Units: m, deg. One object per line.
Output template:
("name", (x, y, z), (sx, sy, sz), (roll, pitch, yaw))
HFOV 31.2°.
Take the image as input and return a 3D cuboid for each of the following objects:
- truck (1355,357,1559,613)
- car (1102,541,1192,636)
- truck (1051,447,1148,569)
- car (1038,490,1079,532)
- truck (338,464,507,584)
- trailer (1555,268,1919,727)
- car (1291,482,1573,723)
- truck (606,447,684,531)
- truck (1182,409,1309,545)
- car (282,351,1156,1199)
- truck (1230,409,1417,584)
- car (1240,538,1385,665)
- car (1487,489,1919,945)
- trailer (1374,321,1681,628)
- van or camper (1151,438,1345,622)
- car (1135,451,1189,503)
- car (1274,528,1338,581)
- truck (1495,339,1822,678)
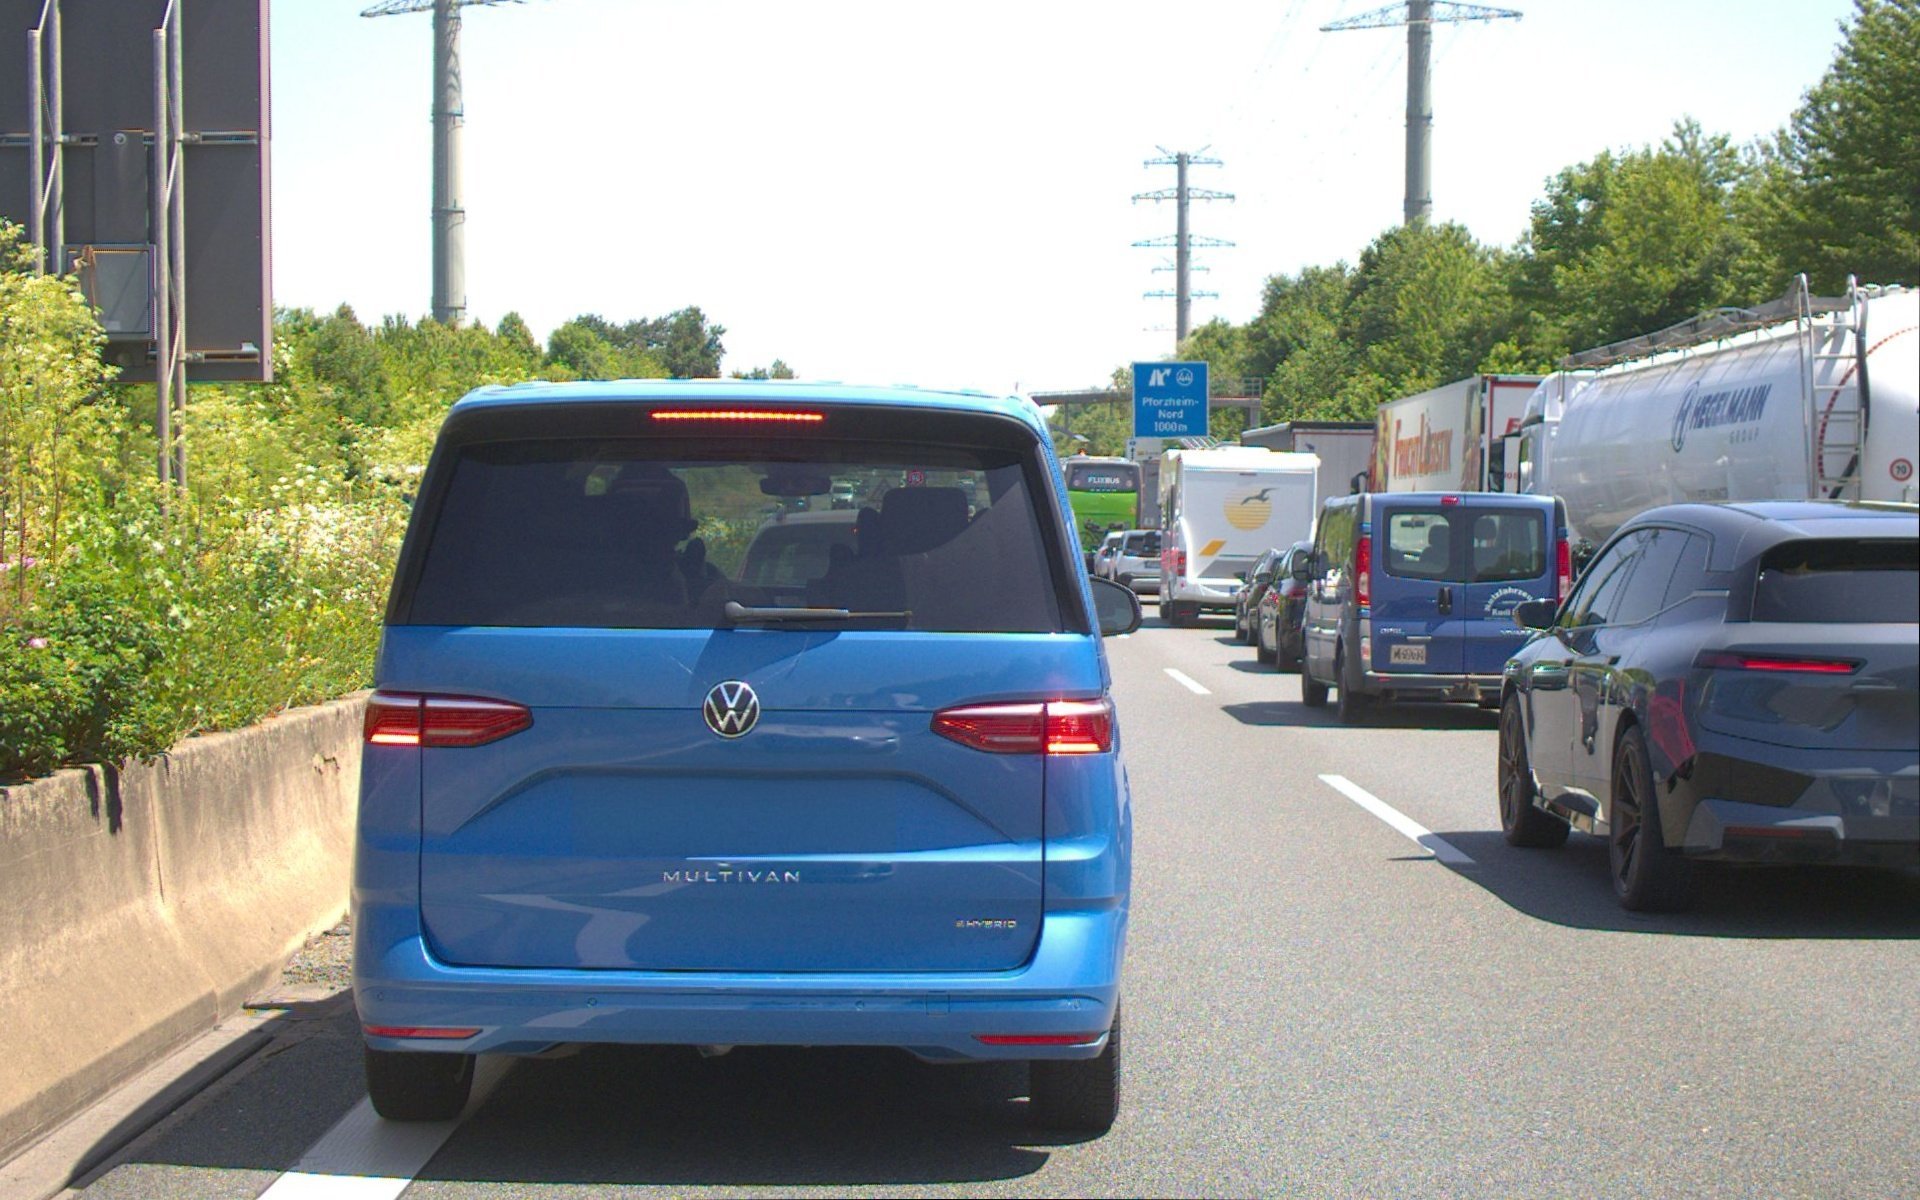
("truck", (8.960, -2.040, 62.485), (2.912, 4.453, 5.143), (0, 1, 0))
("car", (4.059, -0.259, 75.078), (1.836, 1.991, 4.000), (-1, 0, 2))
("truck", (4.470, -2.913, 111.764), (2.895, 3.753, 10.140), (0, 1, 1))
("car", (5.122, -4.653, 179.676), (1.993, 2.118, 4.000), (0, 1, 0))
("truck", (-15.418, -2.170, 99.530), (2.765, 3.277, 11.819), (0, 1, 1))
("trailer", (8.385, -0.958, 34.491), (2.761, 3.831, 11.487), (0, 1, 0))
("car", (4.038, 0.012, 30.046), (1.923, 1.919, 4.235), (-1, 0, 1))
("truck", (-14.276, -5.002, 156.098), (3.071, 3.697, 5.463), (0, 1, 0))
("truck", (8.460, -3.573, 103.411), (2.895, 3.753, 13.345), (0, 1, 1))
("car", (-0.536, 0.362, 9.702), (1.920, 1.880, 4.000), (1, 1, 0))
("truck", (8.423, -2.312, 81.723), (3.006, 3.753, 15.713), (0, 1, 1))
("car", (4.163, 0.006, 40.982), (1.360, 1.415, 3.884), (-1, 0, 1))
("car", (3.660, 0.427, 15.210), (1.999, 1.709, 4.625), (0, 0, 1))
("trailer", (9.001, -1.924, 56.142), (2.912, 4.453, 12.155), (0, 1, 0))
("van or camper", (4.930, -1.191, 60.071), (2.957, 3.011, 7.102), (0, 1, 2))
("car", (8.242, -5.019, 140.643), (1.993, 2.007, 4.000), (0, 1, 0))
("car", (13.259, -1.748, 131.891), (1.993, 2.007, 4.000), (0, 1, 0))
("truck", (8.333, -1.077, 41.651), (2.793, 3.823, 5.572), (0, 1, 0))
